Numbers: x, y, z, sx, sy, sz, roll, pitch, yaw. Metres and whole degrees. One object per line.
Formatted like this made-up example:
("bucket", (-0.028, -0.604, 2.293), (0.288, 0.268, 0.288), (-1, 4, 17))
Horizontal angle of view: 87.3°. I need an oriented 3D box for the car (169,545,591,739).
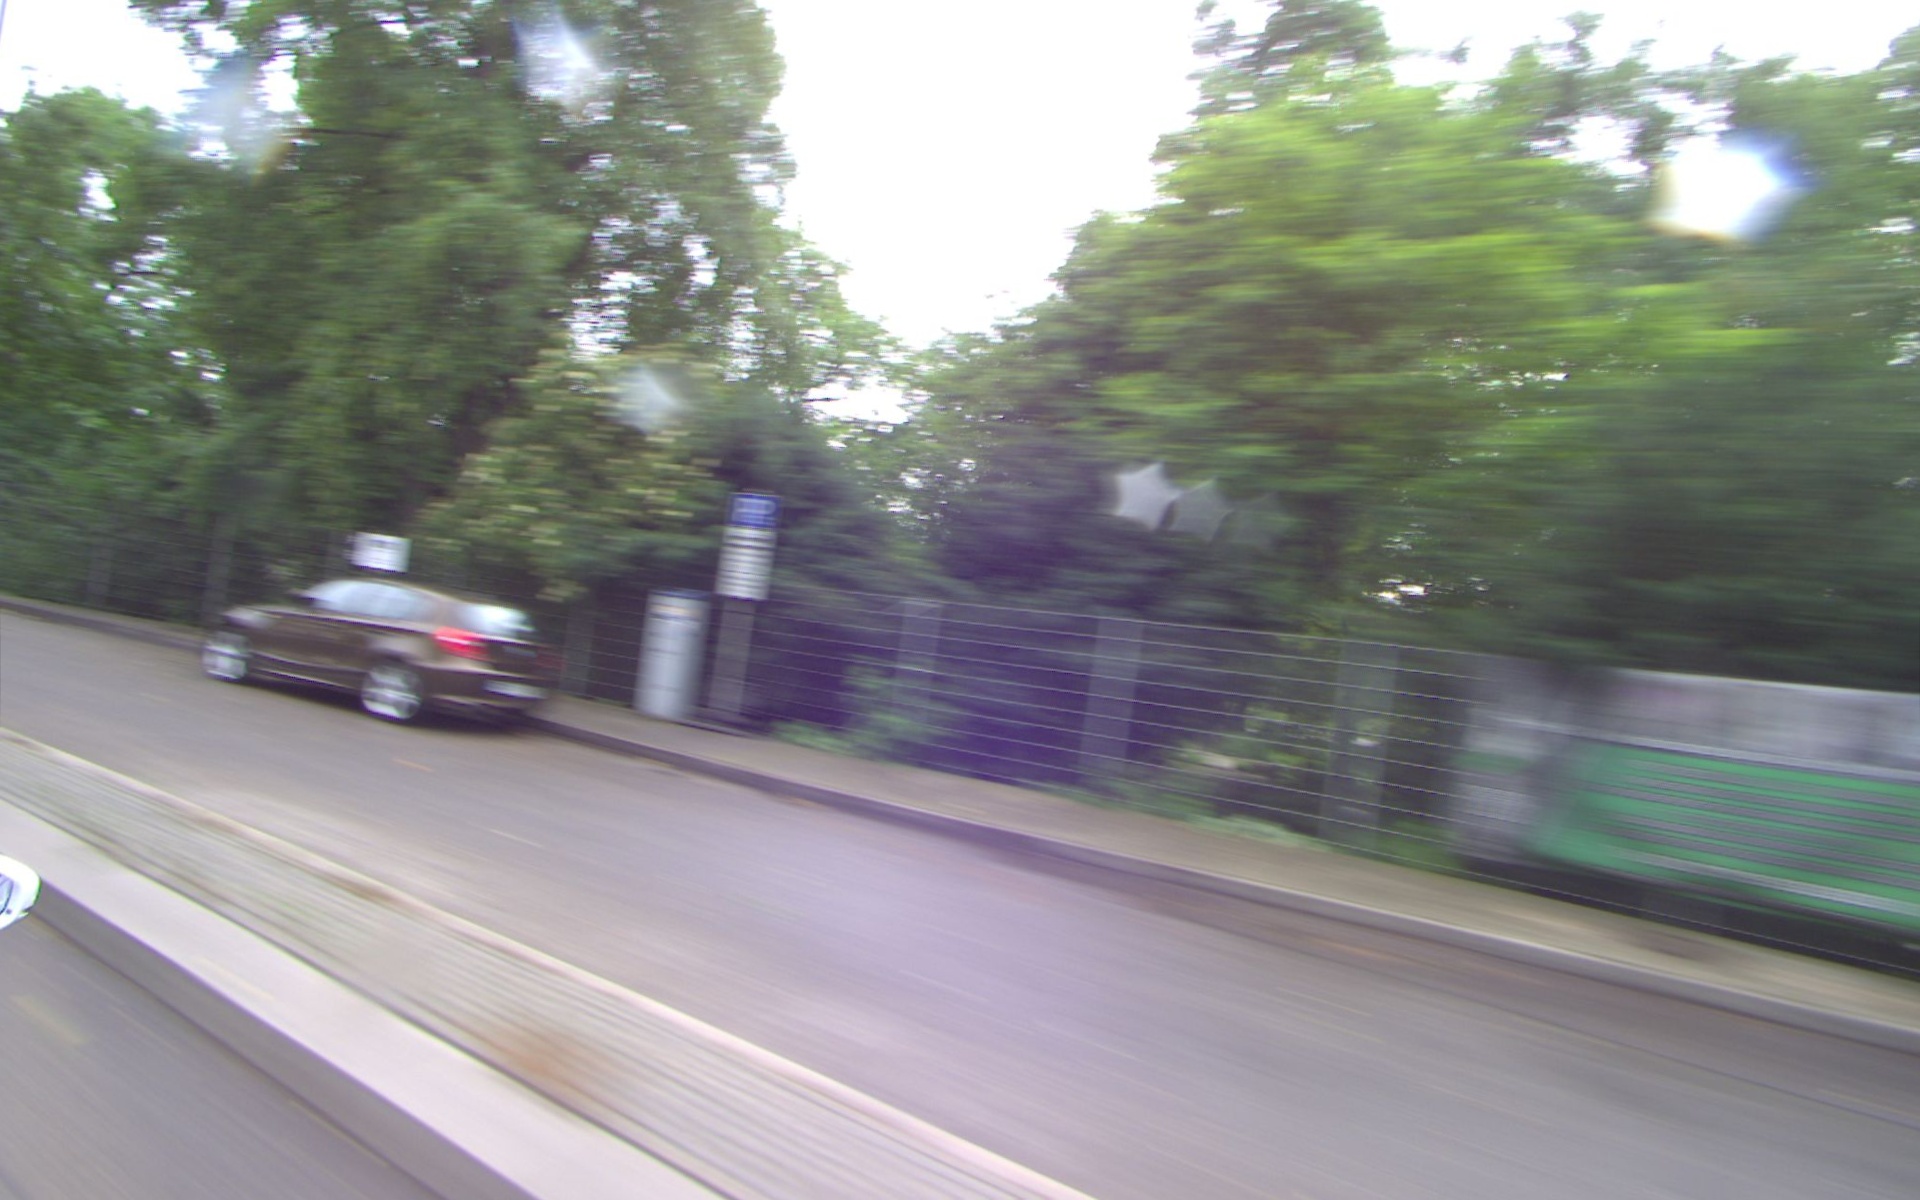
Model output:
("car", (-6.520, 0.464, 11.300), (4.291, 1.441, 1.696), (7, -5, 23))
